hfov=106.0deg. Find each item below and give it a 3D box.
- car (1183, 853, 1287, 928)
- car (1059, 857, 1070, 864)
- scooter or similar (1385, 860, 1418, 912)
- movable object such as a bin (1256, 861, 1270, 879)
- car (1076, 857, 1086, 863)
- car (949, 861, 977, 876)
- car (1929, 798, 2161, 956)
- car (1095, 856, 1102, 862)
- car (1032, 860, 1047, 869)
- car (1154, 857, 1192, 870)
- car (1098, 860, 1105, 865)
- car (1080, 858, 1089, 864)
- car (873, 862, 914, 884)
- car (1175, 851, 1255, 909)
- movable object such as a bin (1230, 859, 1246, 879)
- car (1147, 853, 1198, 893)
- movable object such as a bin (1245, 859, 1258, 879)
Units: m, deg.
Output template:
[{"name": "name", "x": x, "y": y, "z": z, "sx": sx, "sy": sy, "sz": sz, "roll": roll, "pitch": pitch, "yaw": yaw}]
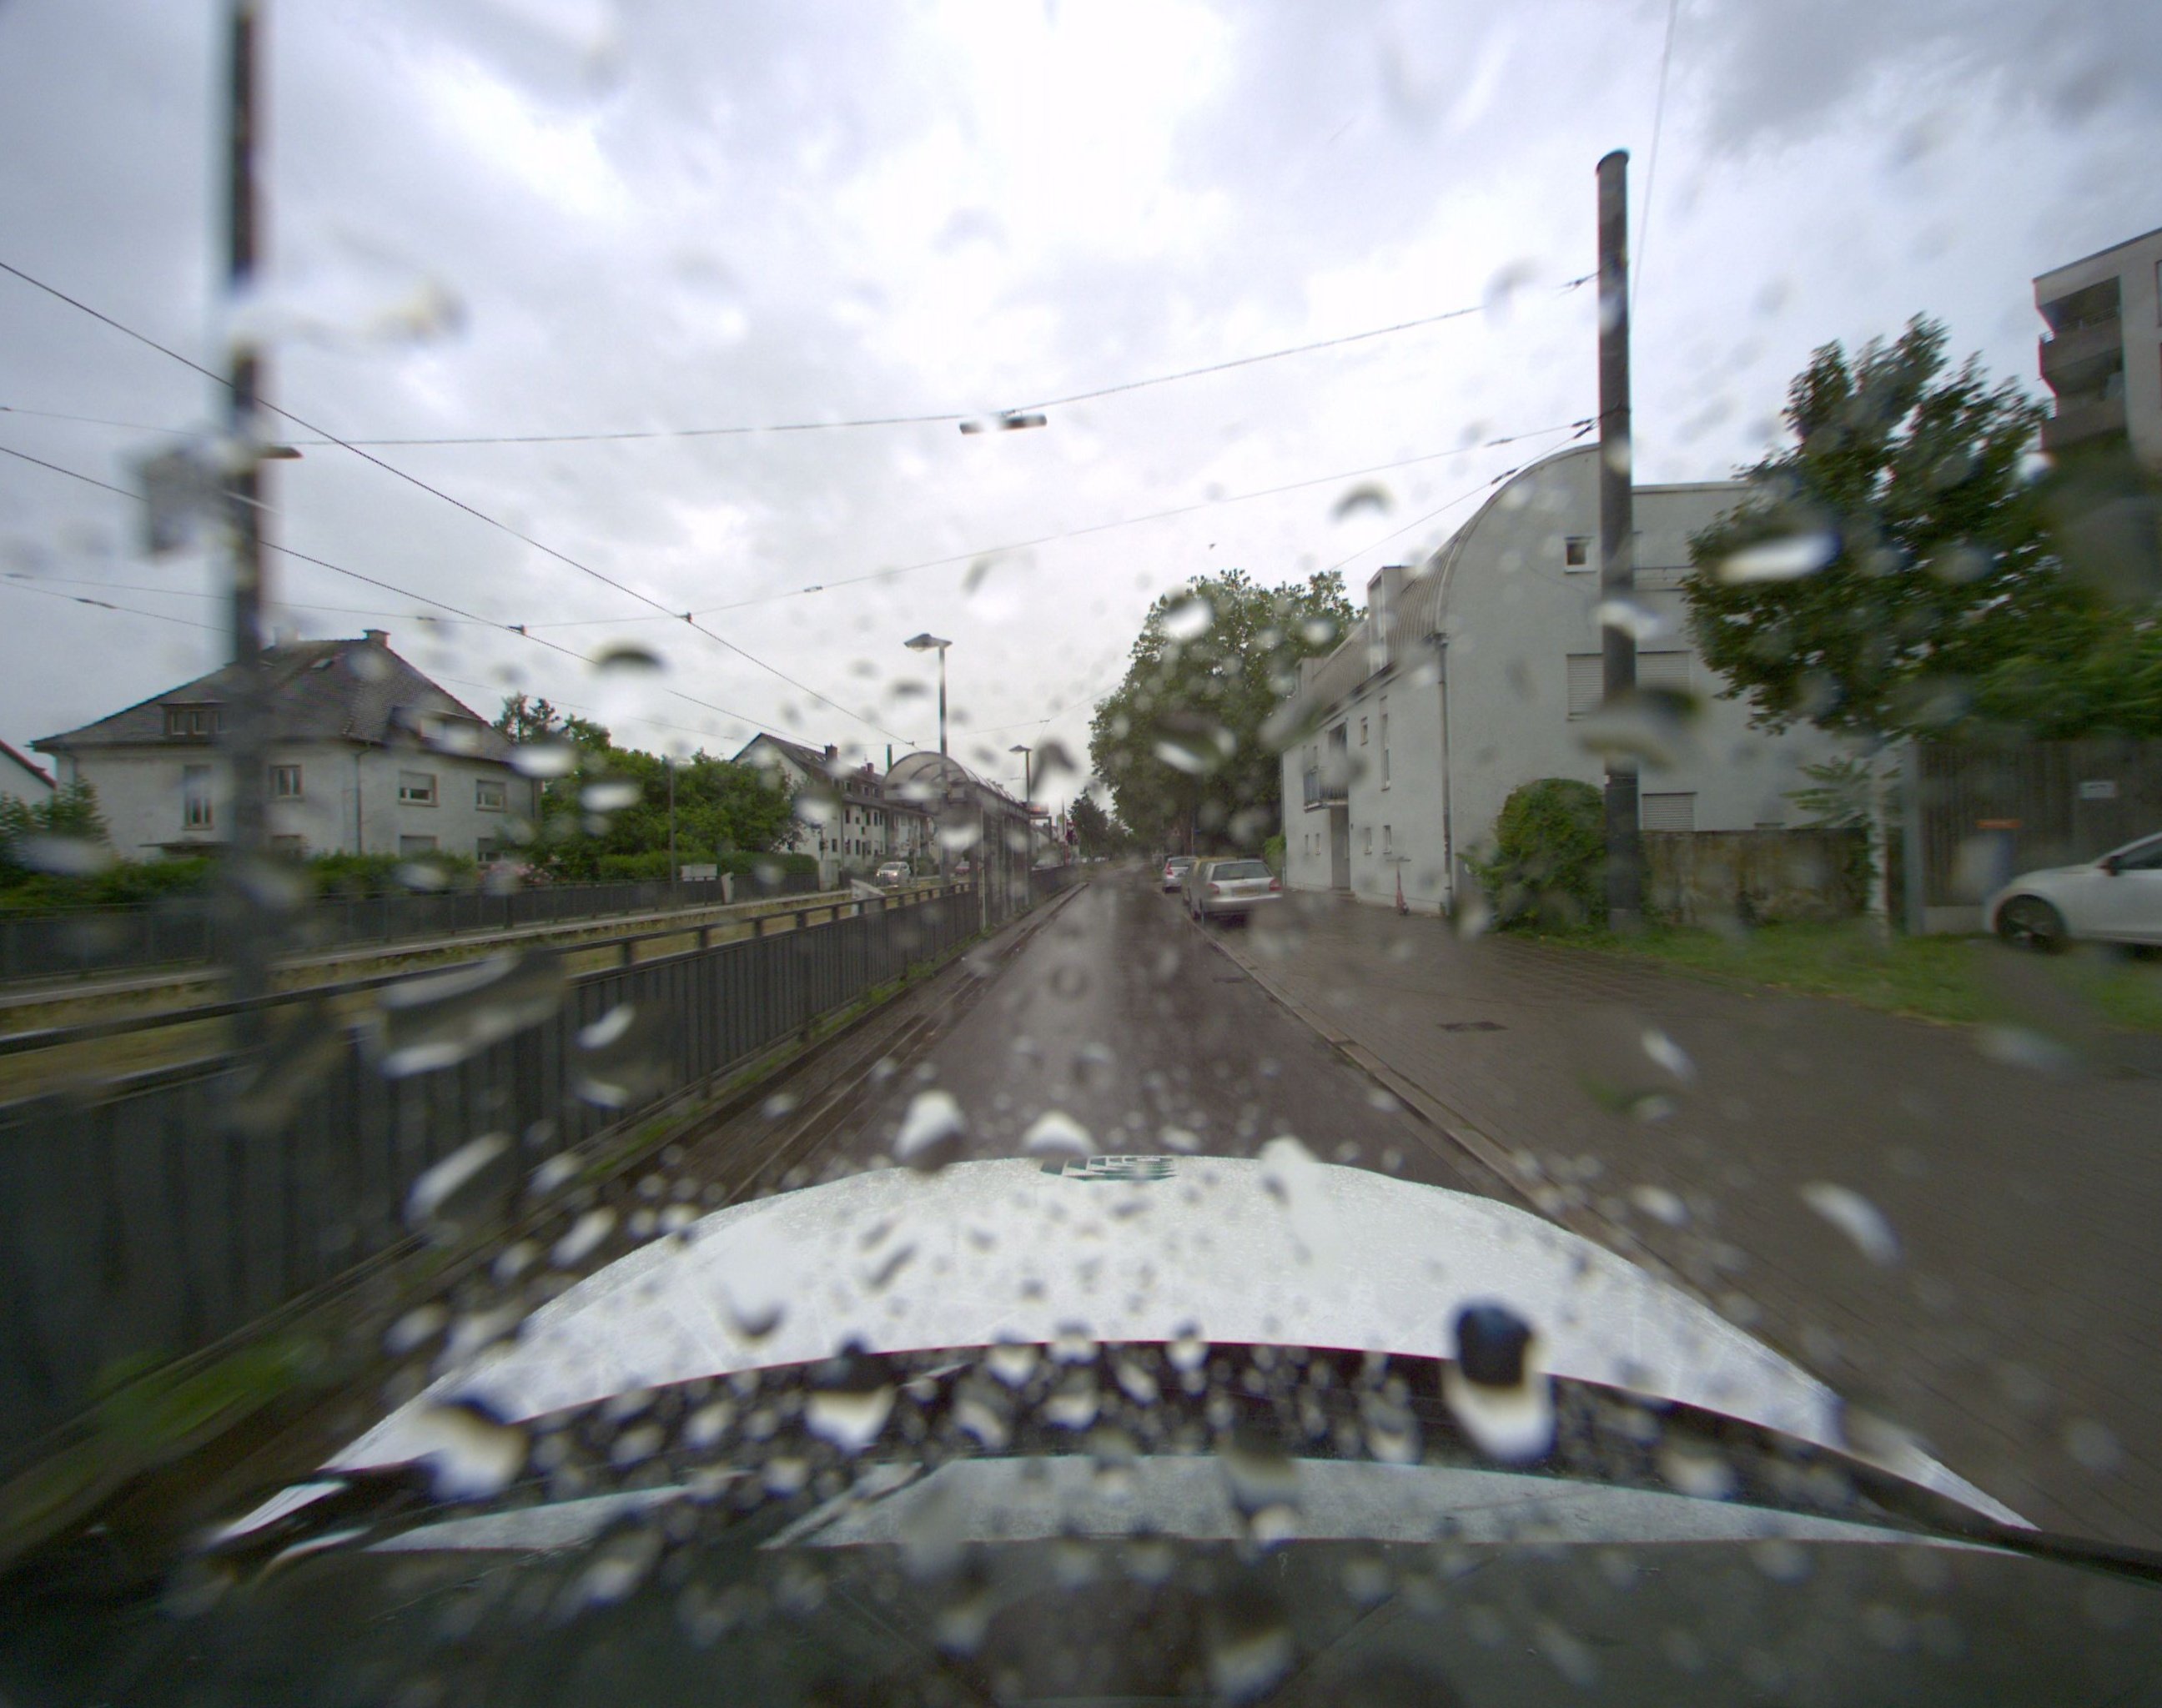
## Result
[{"name": "car", "x": 3.401, "y": 0.776, "z": 18.736, "sx": 1.643, "sy": 1.405, "sz": 4.652, "roll": -4, "pitch": -1, "yaw": 3}, {"name": "car", "x": -3.454, "y": 1.363, "z": 172.277, "sx": 1.919, "sy": 1.486, "sz": 4.006, "roll": 0, "pitch": -1, "yaw": 6}, {"name": "scooter or similar", "x": 6.900, "y": 0.677, "z": 17.560, "sx": 0.331, "sy": 1.085, "sz": 1.398, "roll": 0, "pitch": -1, "yaw": 8}, {"name": "movable object such as a bin", "x": 9.645, "y": 0.831, "z": 43.109, "sx": 0.534, "sy": 0.899, "sz": 0.739, "roll": -4, "pitch": -1, "yaw": 2}, {"name": "car", "x": 0.013, "y": 1.469, "z": 194.426, "sx": 1.919, "sy": 1.486, "sz": 4.006, "roll": 0, "pitch": -1, "yaw": 6}, {"name": "car", "x": -12.045, "y": 1.466, "z": 83.662, "sx": 1.919, "sy": 1.486, "sz": 4.006, "roll": 0, "pitch": -1, "yaw": 6}, {"name": "car", "x": 11.480, "y": 0.212, "z": 8.001, "sx": 1.954, "sy": 1.535, "sz": 4.368, "roll": 0, "pitch": 0, "yaw": 4}, {"name": "car", "x": 5.069, "y": 1.420, "z": 236.552, "sx": 1.919, "sy": 1.486, "sz": 4.006, "roll": 0, "pitch": -1, "yaw": 6}, {"name": "car", "x": -7.032, "y": 1.821, "z": 138.001, "sx": 1.919, "sy": 1.486, "sz": 4.006, "roll": 0, "pitch": -1, "yaw": 6}, {"name": "car", "x": 10.546, "y": 1.093, "z": 93.555, "sx": 3.990, "sy": 1.453, "sz": 1.992, "roll": 0, "pitch": -1, "yaw": -12}, {"name": "car", "x": 6.222, "y": 2.625, "z": 249.758, "sx": 1.919, "sy": 1.486, "sz": 4.006, "roll": 0, "pitch": -1, "yaw": 6}, {"name": "car", "x": 0.819, "y": 1.720, "z": 206.308, "sx": 1.919, "sy": 1.486, "sz": 4.006, "roll": 0, "pitch": -1, "yaw": 6}, {"name": "car", "x": -12.857, "y": 1.284, "z": 56.077, "sx": 1.626, "sy": 1.493, "sz": 4.003, "roll": 0, "pitch": -1, "yaw": 3}, {"name": "car", "x": 3.811, "y": 0.733, "z": 23.760, "sx": 1.799, "sy": 1.405, "sz": 3.796, "roll": -4, "pitch": -1, "yaw": 3}, {"name": "movable object such as a bin", "x": 8.458, "y": 0.823, "z": 43.963, "sx": 0.690, "sy": 1.022, "sz": 0.824, "roll": -4, "pitch": -1, "yaw": 2}, {"name": "car", "x": 3.801, "y": 0.775, "z": 34.437, "sx": 1.799, "sy": 1.467, "sz": 3.796, "roll": -4, "pitch": -1, "yaw": 3}, {"name": "movable object such as a bin", "x": 9.069, "y": 0.812, "z": 43.292, "sx": 0.534, "sy": 1.022, "sz": 0.739, "roll": -4, "pitch": -1, "yaw": 2}]
